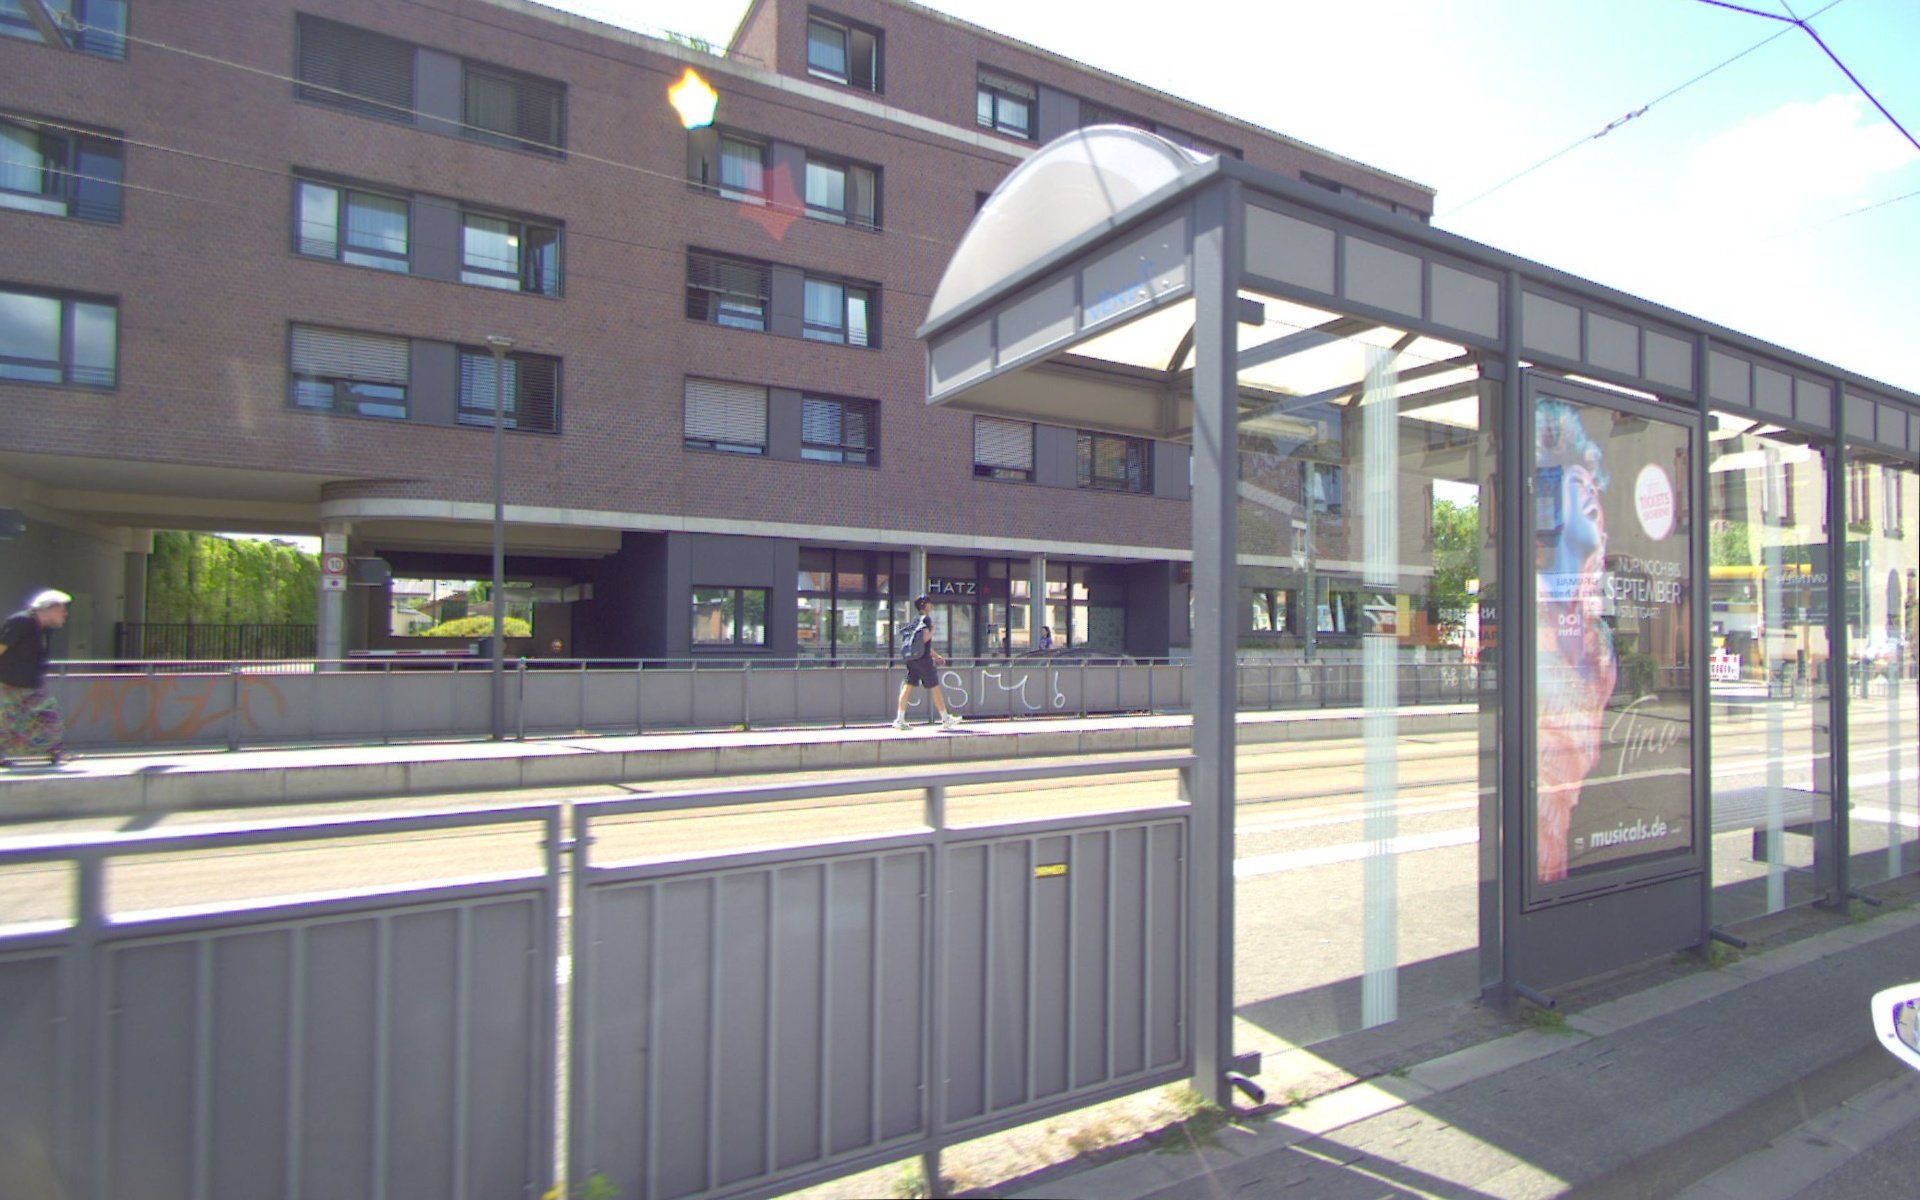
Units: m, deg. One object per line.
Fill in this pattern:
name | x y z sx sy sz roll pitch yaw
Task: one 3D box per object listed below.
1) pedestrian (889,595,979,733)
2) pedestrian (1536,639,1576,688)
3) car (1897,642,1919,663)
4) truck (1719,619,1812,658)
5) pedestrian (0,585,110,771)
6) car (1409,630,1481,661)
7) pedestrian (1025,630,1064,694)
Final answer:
pedestrian | -0.356 0.856 13.602 1.021 1.783 0.682 1 -2 -30
pedestrian | 20.396 2.154 34.356 0.990 1.617 0.755 2 2 -34
car | 75.715 4.048 77.762 4.245 1.611 2.002 0 -2 8
truck | 55.457 2.675 69.170 5.106 2.531 1.998 1 -2 -6
pedestrian | -8.352 0.697 9.159 0.752 1.617 0.682 1 -2 -30
car | 31.634 2.966 65.707 1.864 1.962 4.239 1 -2 -18
pedestrian | 2.179 1.592 25.932 0.752 1.617 0.682 1 -2 -30
